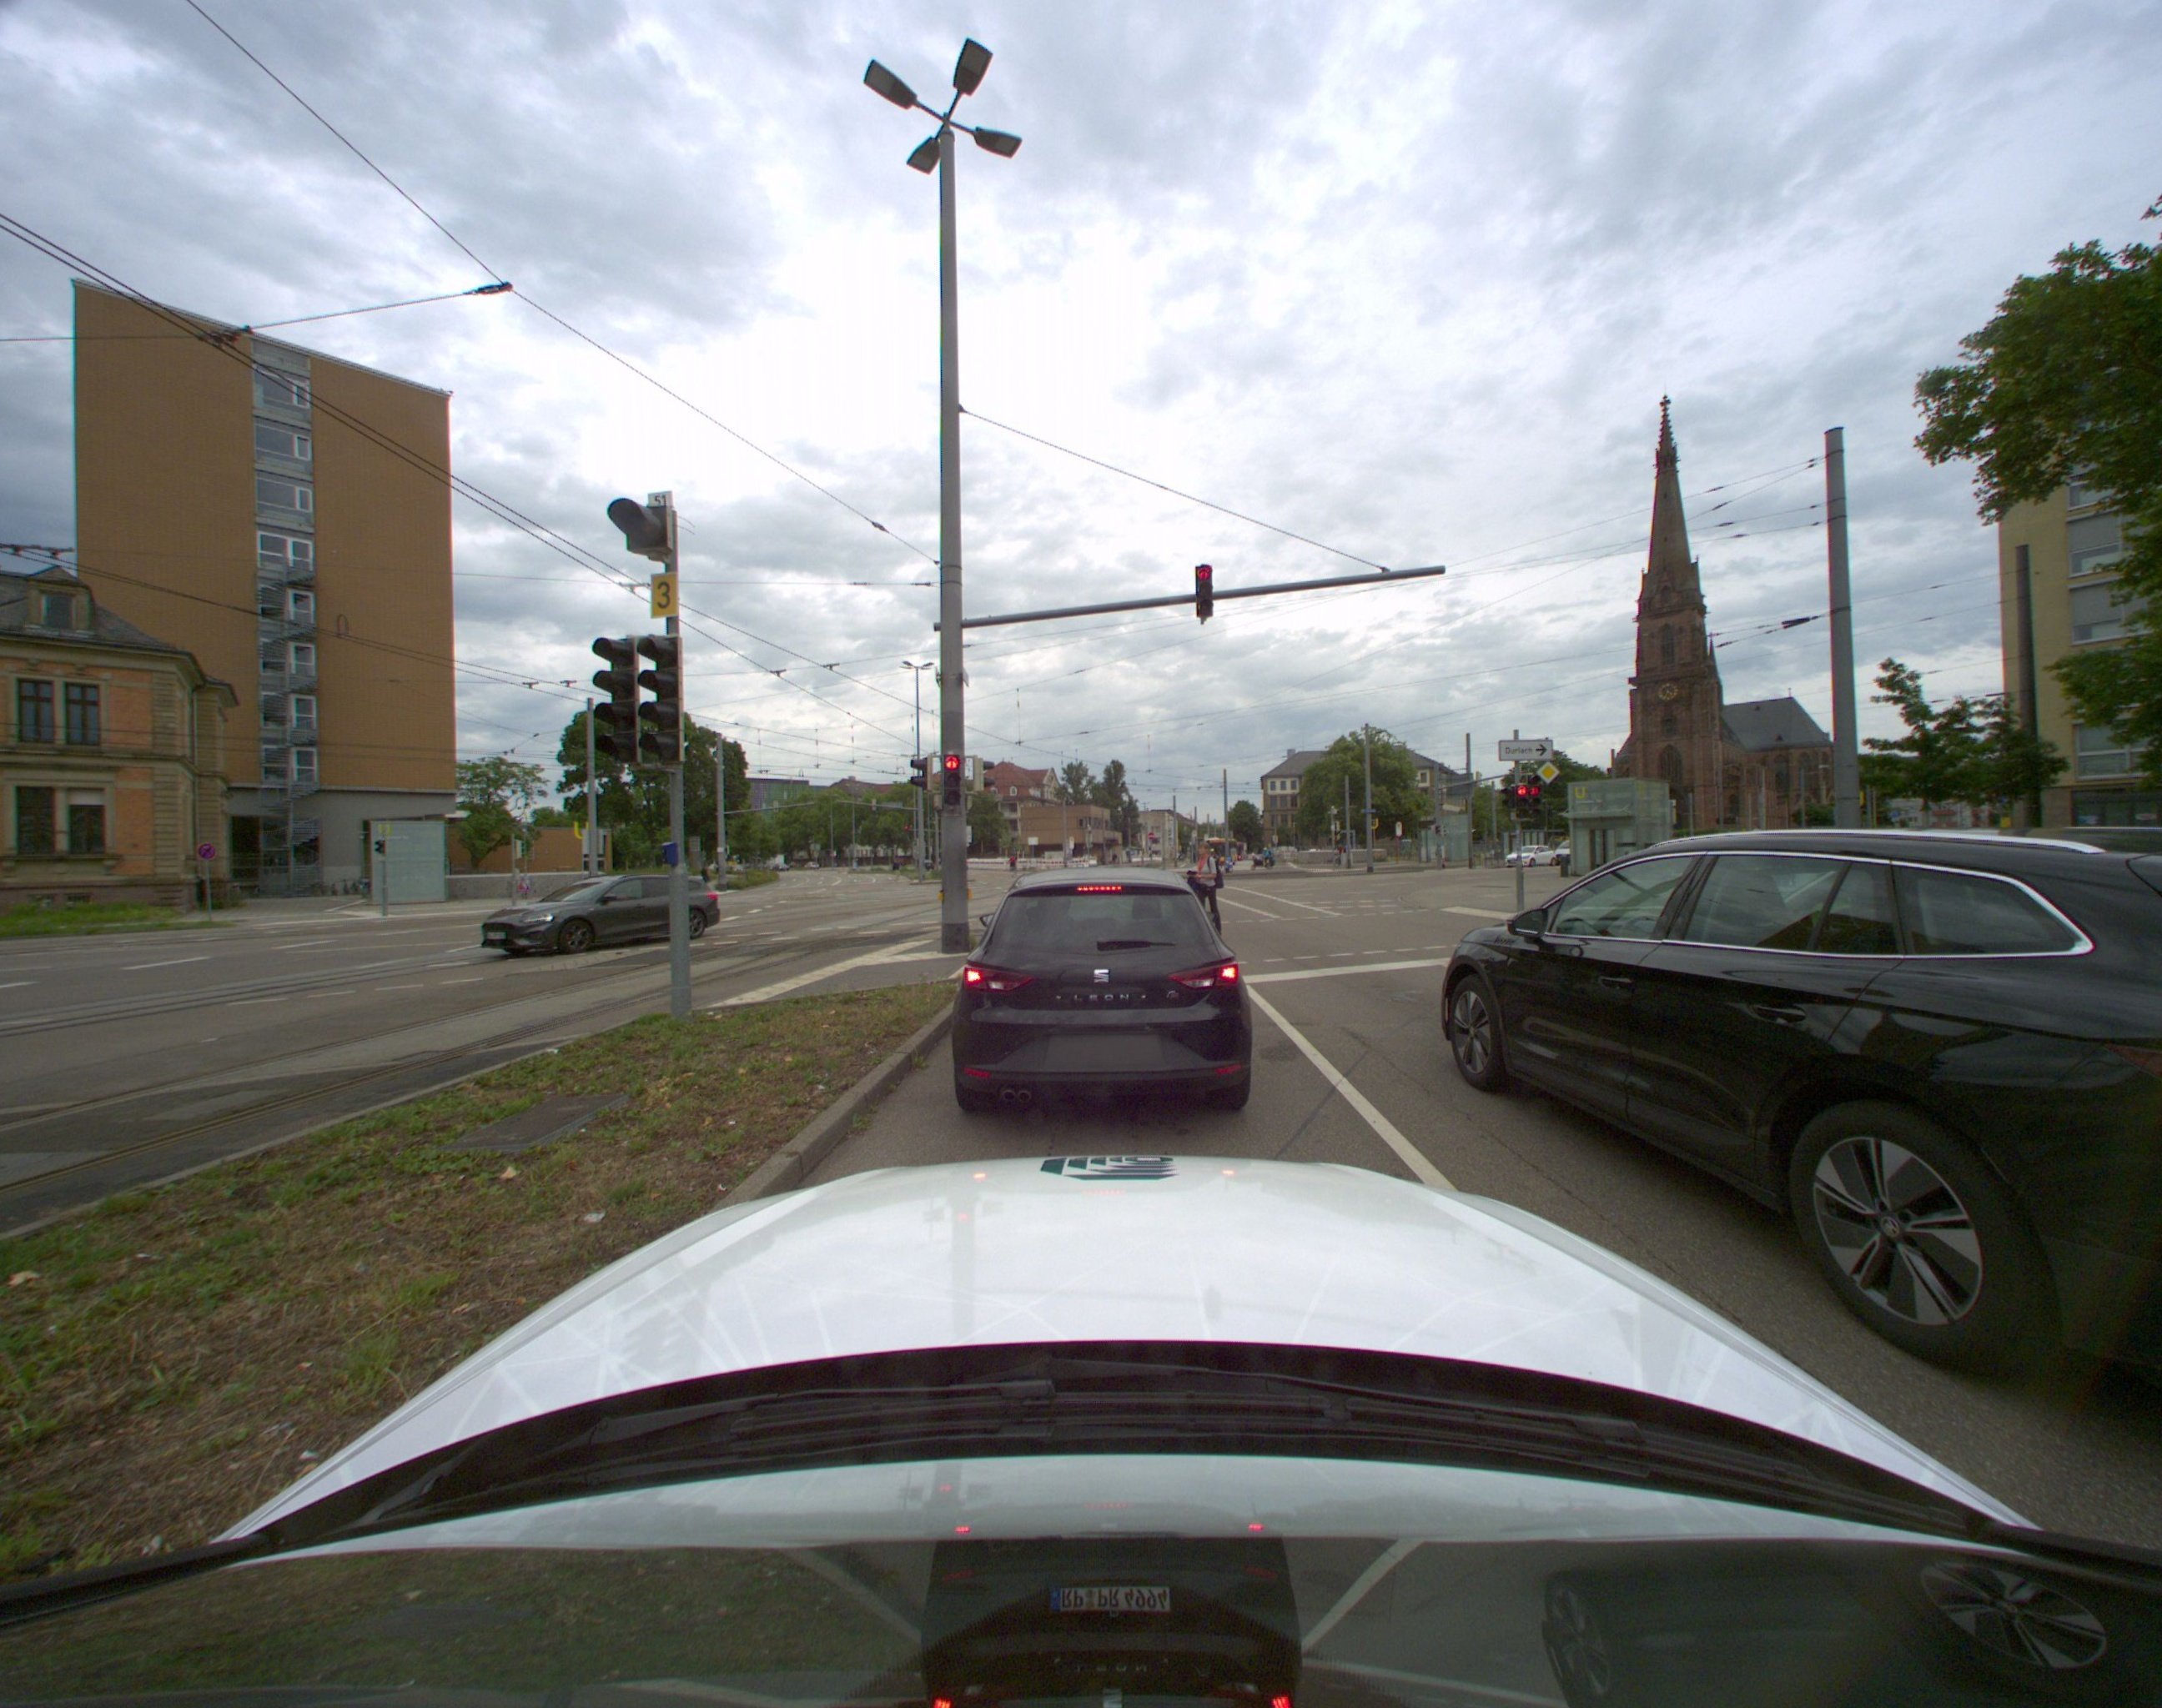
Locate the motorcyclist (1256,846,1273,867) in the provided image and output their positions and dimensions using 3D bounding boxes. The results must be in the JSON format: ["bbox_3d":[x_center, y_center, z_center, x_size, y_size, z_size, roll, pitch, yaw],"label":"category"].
[{"bbox_3d":[14.753,0.199,65.465,0.984,1.649,0.742,-1,-1,-31],"label":"motorcyclist"}]

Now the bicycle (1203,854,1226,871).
[{"bbox_3d":[10.732,0.682,65.638,1.727,1.321,0.644,-2,0,-4],"label":"bicycle"}]

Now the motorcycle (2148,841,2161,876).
[{"bbox_3d":[31.804,0.113,23.654,1.021,0.997,0.863,-1,0,-44],"label":"motorcycle"}]

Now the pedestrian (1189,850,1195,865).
[{"bbox_3d":[14.185,0.452,103.887,0.617,1.918,0.701,-2,0,11],"label":"pedestrian"}]

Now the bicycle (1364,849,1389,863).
[{"bbox_3d":[29.650,0.240,81.731,2.248,1.331,0.709,-2,-2,9],"label":"bicycle"}]

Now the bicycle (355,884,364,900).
[{"bbox_3d":[-50.245,2.626,56.716,0.484,1.049,1.411,-1,0,-41],"label":"bicycle"}]

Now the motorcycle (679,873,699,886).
[{"bbox_3d":[-34.425,2.210,71.501,0.506,1.111,1.751,-2,0,15],"label":"motorcycle"}]

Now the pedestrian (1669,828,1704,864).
[{"bbox_3d":[31.052,-0.397,41.767,0.950,1.797,1.076,-1,-2,-31],"label":"pedestrian"}]

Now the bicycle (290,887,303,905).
[{"bbox_3d":[-52.542,2.816,54.545,0.575,1.106,1.411,-1,0,-41],"label":"bicycle"}]

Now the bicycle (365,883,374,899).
[{"bbox_3d":[-49.843,2.602,57.068,0.484,1.049,1.411,-1,0,-41],"label":"bicycle"}]

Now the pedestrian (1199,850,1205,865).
[{"bbox_3d":[15.539,0.410,104.383,0.617,1.918,0.701,-2,0,11],"label":"pedestrian"}]

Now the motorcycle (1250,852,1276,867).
[{"bbox_3d":[14.618,0.457,65.394,2.149,1.139,0.737,-1,0,-31],"label":"motorcycle"}]

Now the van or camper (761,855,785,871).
[{"bbox_3d":[-62.844,1.835,165.986,5.434,3.124,2.410,-2,0,43],"label":"van or camper"}]

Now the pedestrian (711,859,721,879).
[{"bbox_3d":[-37.377,1.566,83.439,0.799,1.981,0.872,-1,-2,-33],"label":"pedestrian"}]

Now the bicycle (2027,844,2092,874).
[{"bbox_3d":[31.506,0.160,26.237,0.596,0.917,1.253,-1,0,-28],"label":"bicycle"}]

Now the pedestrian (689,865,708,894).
[{"bbox_3d":[-27.223,1.775,57.980,1.023,2.013,0.841,-1,0,-18],"label":"pedestrian"}]

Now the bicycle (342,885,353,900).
[{"bbox_3d":[-50.658,2.656,56.277,0.512,1.049,1.411,-1,0,-41],"label":"bicycle"}]

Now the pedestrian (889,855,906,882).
[{"bbox_3d":[-13.718,1.085,60.897,1.032,1.934,0.695,-2,0,-24],"label":"pedestrian"}]

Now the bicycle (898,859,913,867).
[{"bbox_3d":[-29.040,1.492,134.788,0.930,1.179,2.747,-2,0,30],"label":"bicycle"}]

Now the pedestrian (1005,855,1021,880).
[{"bbox_3d":[-5.431,1.075,64.923,0.692,1.934,1.037,-2,0,40],"label":"pedestrian"}]

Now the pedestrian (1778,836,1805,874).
[{"bbox_3d":[31.379,0.049,35.983,0.875,1.638,0.631,-1,0,-32],"label":"pedestrian"}]

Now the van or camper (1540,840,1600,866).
[{"bbox_3d":[35.268,-0.047,58.686,4.321,1.742,1.979,-1,-2,-34],"label":"van or camper"}]

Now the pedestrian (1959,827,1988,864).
[{"bbox_3d":[40.230,-0.374,36.720,0.640,1.638,0.778,-1,0,-35],"label":"pedestrian"}]

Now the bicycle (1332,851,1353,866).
[{"bbox_3d":[21.319,0.346,66.452,2.044,1.184,0.768,-1,0,-44],"label":"bicycle"}]

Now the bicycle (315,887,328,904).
[{"bbox_3d":[-51.646,2.804,55.356,0.575,1.106,1.411,-1,0,-41],"label":"bicycle"}]

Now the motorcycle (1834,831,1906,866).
[{"bbox_3d":[26.950,-0.191,27.817,2.386,1.168,0.762,-1,0,-19],"label":"motorcycle"}]

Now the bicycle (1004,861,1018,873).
[{"bbox_3d":[-7.080,1.298,82.161,0.895,1.178,2.286,-1,0,-20],"label":"bicycle"}]

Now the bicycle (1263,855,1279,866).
[{"bbox_3d":[18.377,0.623,78.908,0.863,1.104,2.299,-1,0,-3],"label":"bicycle"}]

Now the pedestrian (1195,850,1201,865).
[{"bbox_3d":[15.137,0.390,105.326,0.618,1.918,0.711,-2,0,5],"label":"pedestrian"}]

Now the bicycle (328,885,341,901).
[{"bbox_3d":[-51.161,2.665,55.833,0.575,1.106,1.411,-1,0,-41],"label":"bicycle"}]
